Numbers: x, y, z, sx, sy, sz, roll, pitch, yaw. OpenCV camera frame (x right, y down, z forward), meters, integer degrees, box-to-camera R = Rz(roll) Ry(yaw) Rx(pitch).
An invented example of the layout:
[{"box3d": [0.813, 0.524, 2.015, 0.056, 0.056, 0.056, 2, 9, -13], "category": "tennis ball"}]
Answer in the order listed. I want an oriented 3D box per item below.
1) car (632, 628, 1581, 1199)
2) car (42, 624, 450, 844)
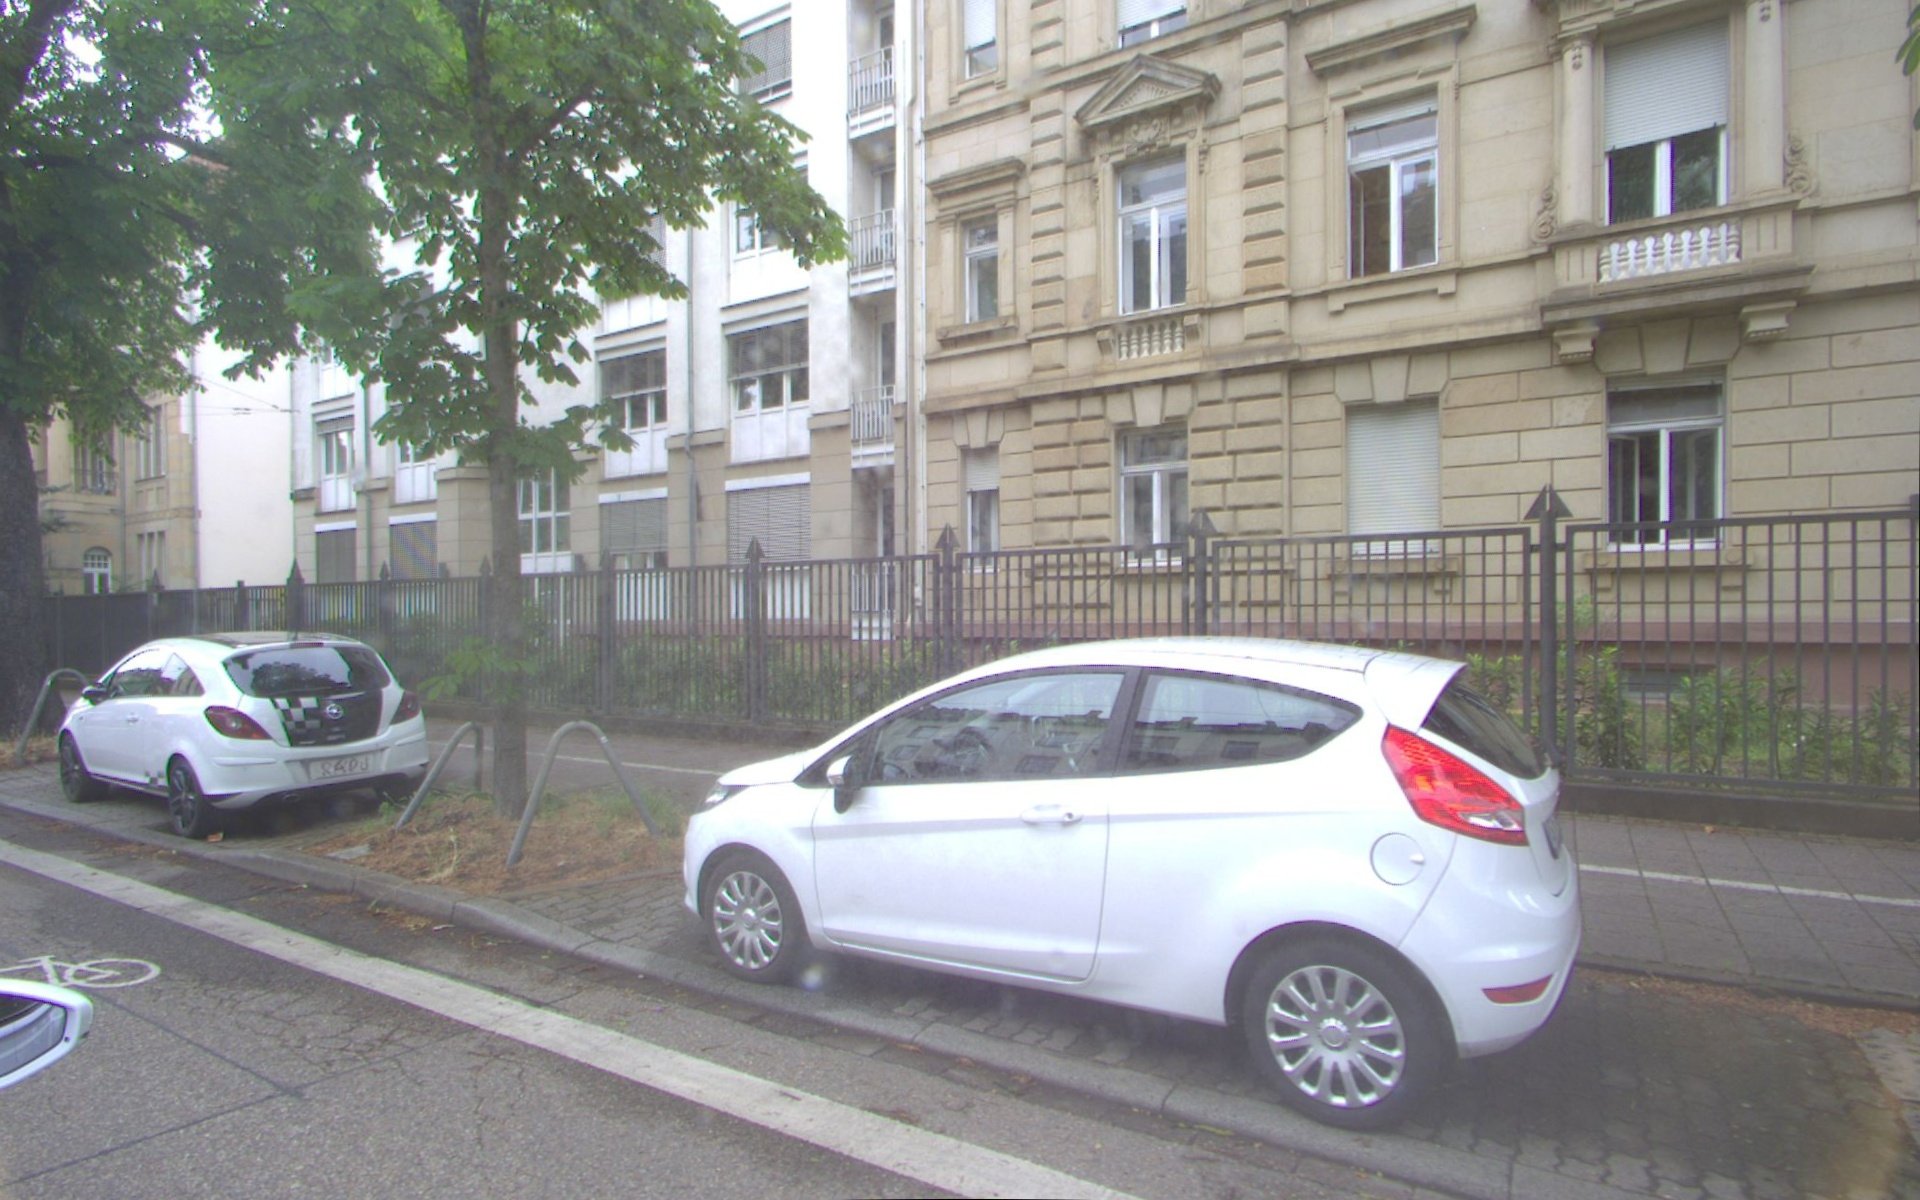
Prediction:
[{"box3d": [0.494, 0.893, 4.323, 3.711, 1.455, 1.623, -1, 1, 32], "category": "car"}, {"box3d": [-6.249, 0.977, 8.671, 3.723, 1.455, 1.598, -1, 1, 33], "category": "car"}]
